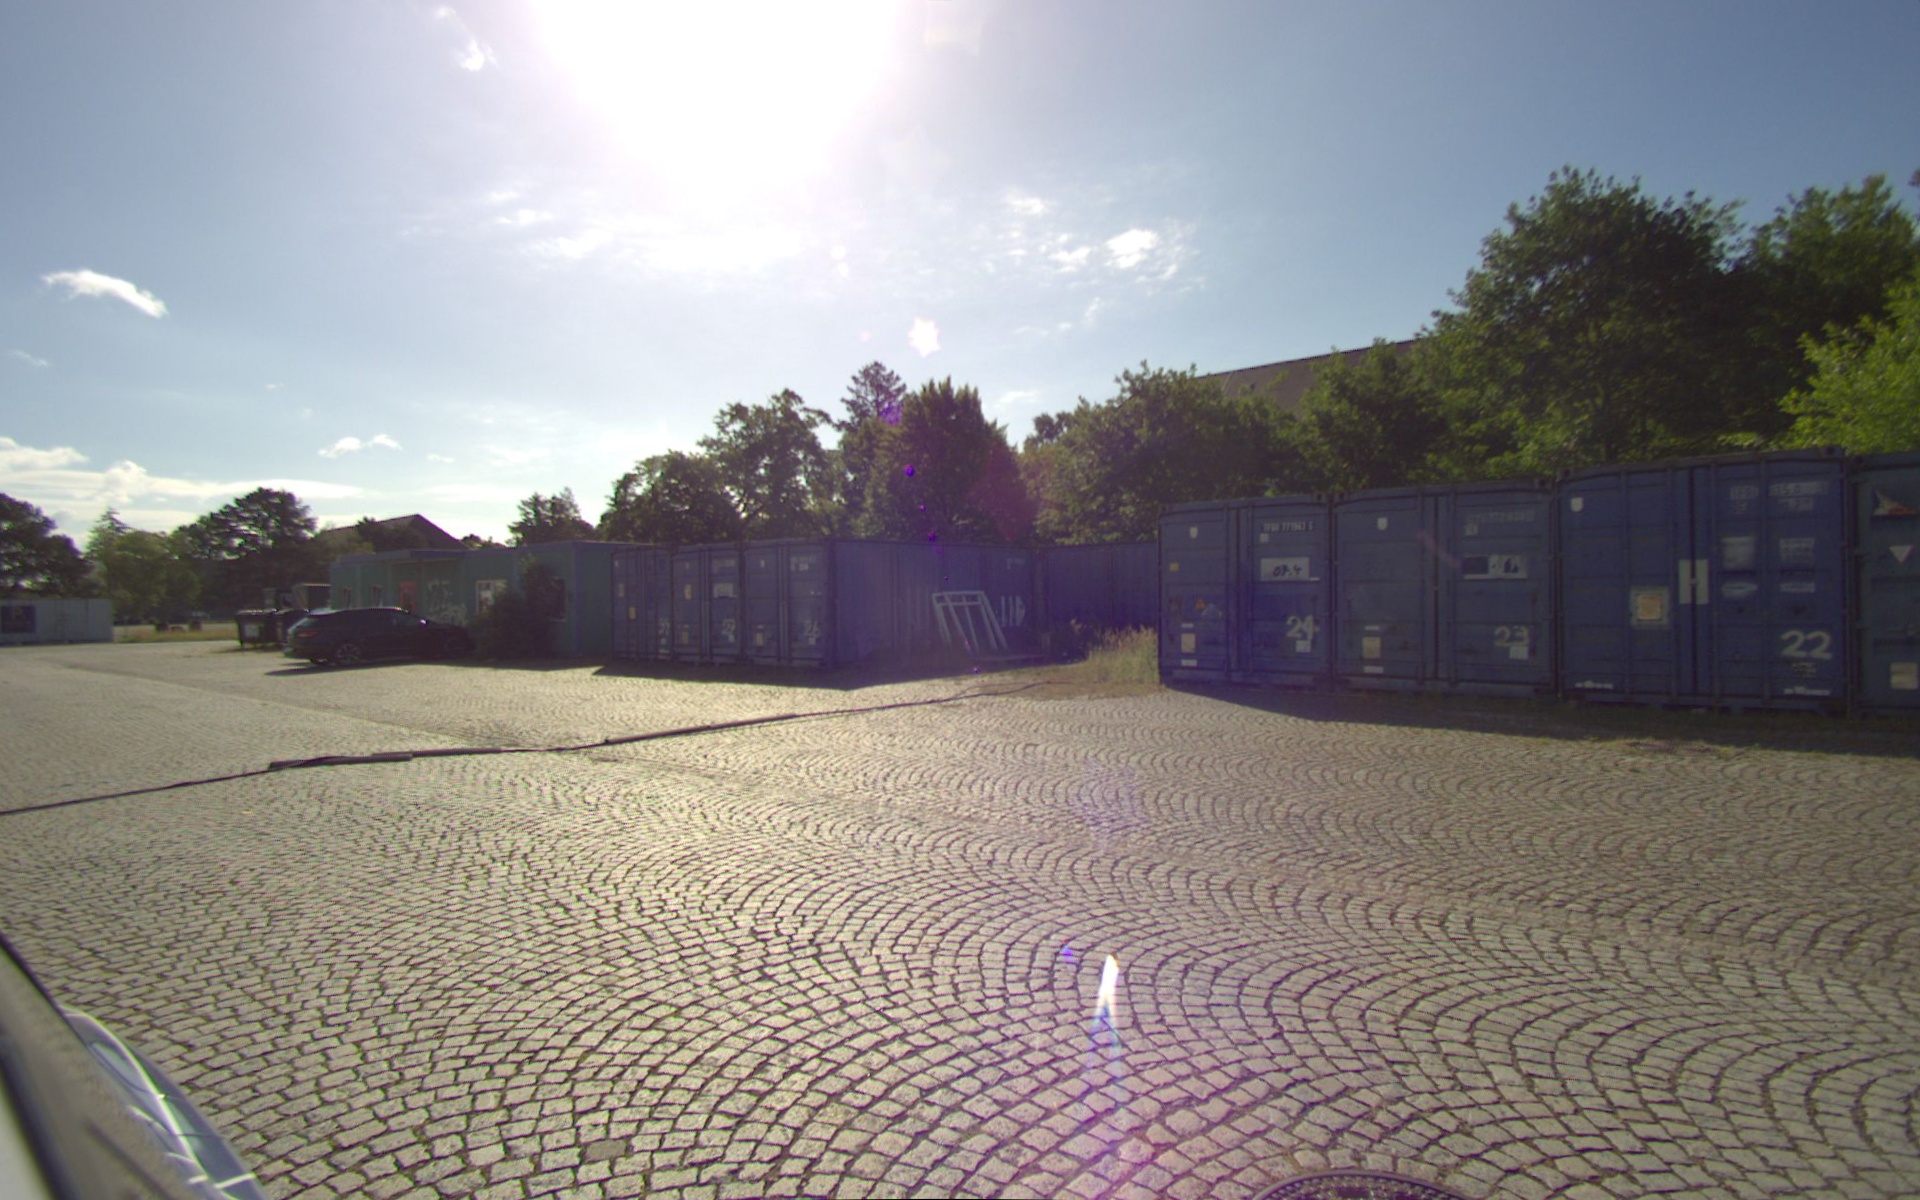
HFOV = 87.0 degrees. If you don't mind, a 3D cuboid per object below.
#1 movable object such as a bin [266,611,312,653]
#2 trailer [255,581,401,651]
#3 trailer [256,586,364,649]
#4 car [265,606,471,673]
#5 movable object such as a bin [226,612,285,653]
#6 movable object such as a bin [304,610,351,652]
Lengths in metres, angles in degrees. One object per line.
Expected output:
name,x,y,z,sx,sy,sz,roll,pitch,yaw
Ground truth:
movable object such as a bin,-24.685,1.163,37.233,1.439,1.469,1.007,0,1,40
trailer,-25.626,0.585,41.189,1.948,2.587,4.595,0,1,36
trailer,-27.460,0.709,42.812,2.043,2.488,3.350,0,1,41
car,-15.261,0.950,26.281,1.929,1.460,4.211,0,1,38
movable object such as a bin,-26.597,1.203,38.238,1.416,1.469,1.158,-1,1,-7
movable object such as a bin,-22.938,1.098,36.704,1.435,1.469,0.876,-1,1,30
